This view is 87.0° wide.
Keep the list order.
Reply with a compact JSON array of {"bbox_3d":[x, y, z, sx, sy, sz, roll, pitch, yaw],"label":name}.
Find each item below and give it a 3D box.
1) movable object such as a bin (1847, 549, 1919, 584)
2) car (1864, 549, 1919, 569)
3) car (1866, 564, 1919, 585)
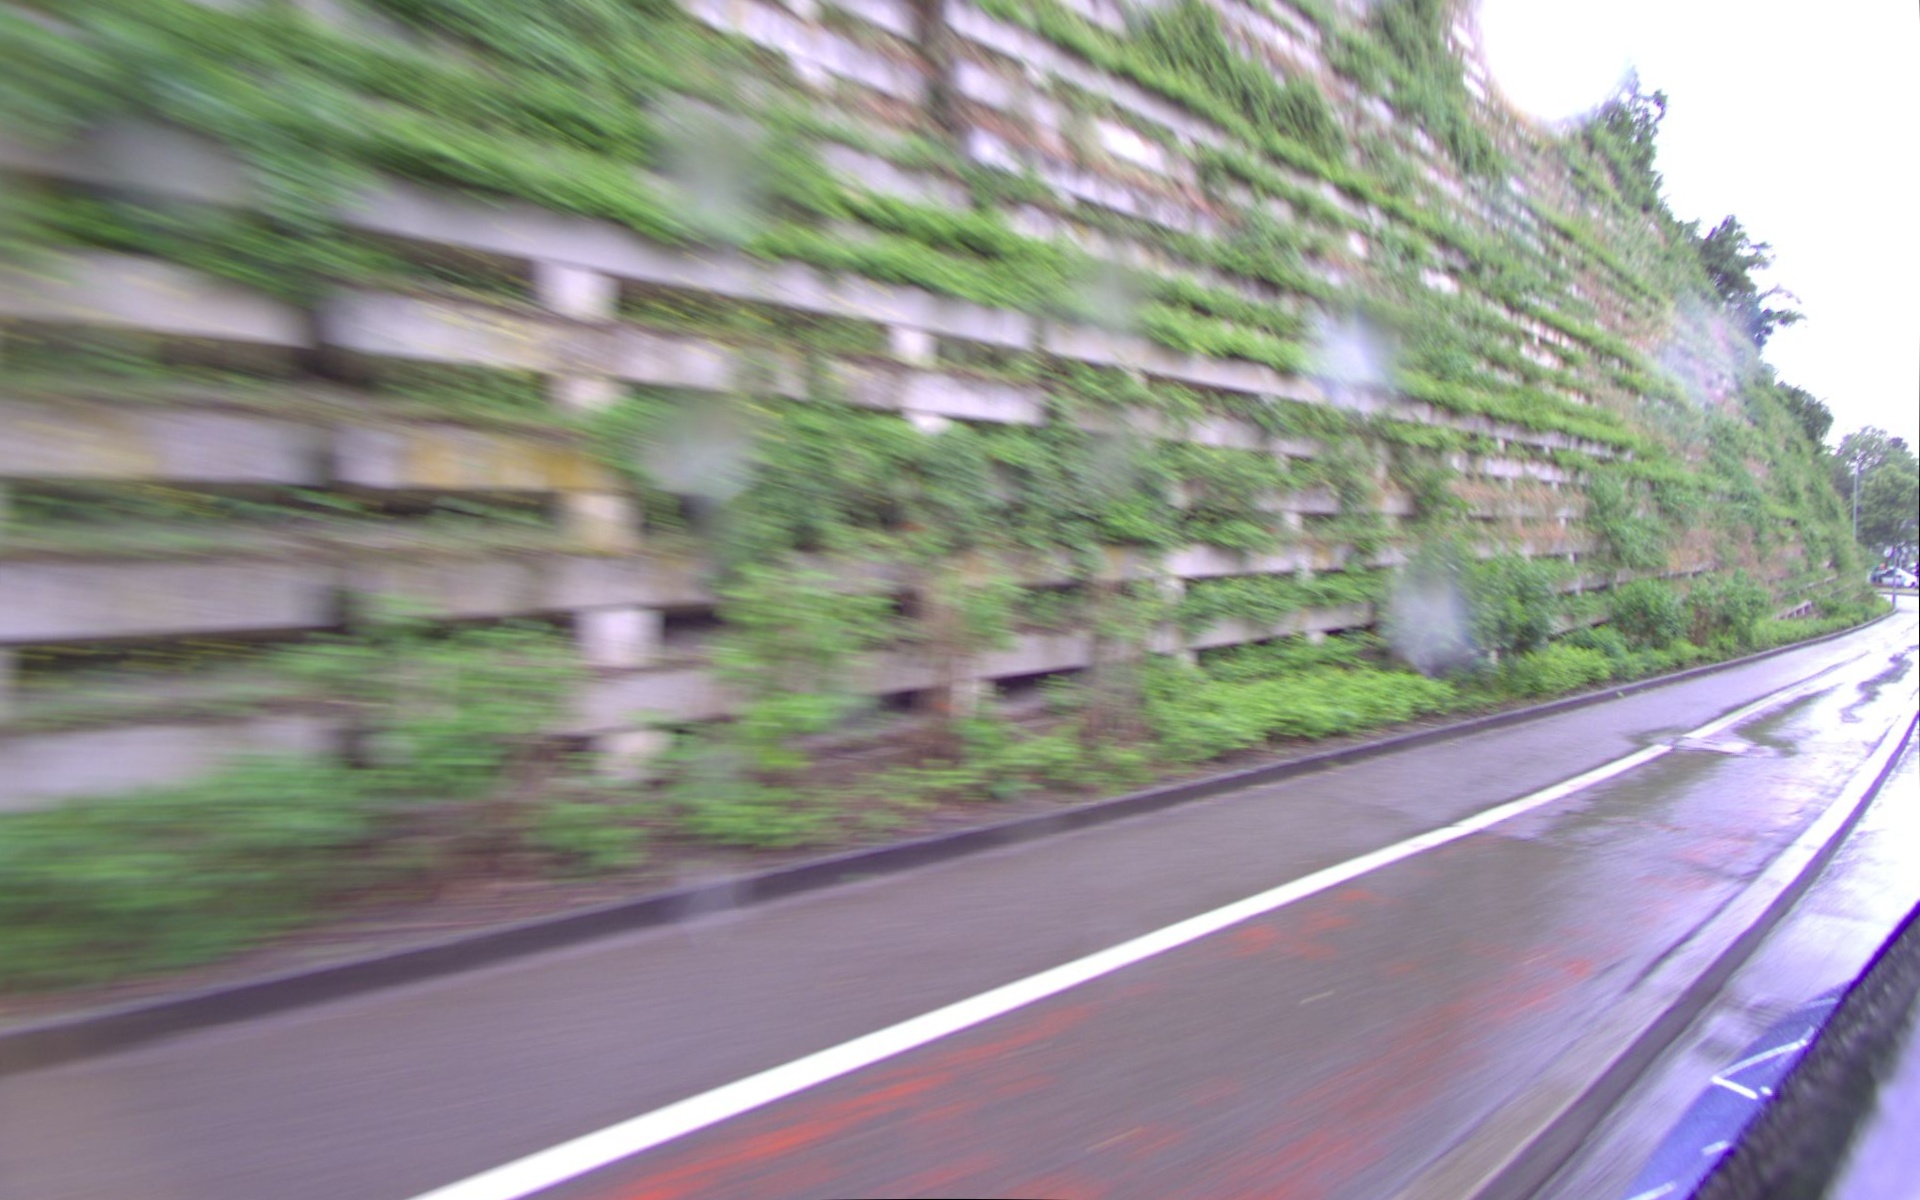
[{"bbox_3d":[78.697,-2.883,86.006,2.275,2.718,5.687,3,3,11],"label":"movable object such as a bin"},{"bbox_3d":[91.230,-3.999,98.667,1.889,1.786,4.384,-2,6,-42],"label":"car"},{"bbox_3d":[83.063,-2.296,89.673,1.642,1.592,3.994,-2,6,-43],"label":"car"}]
